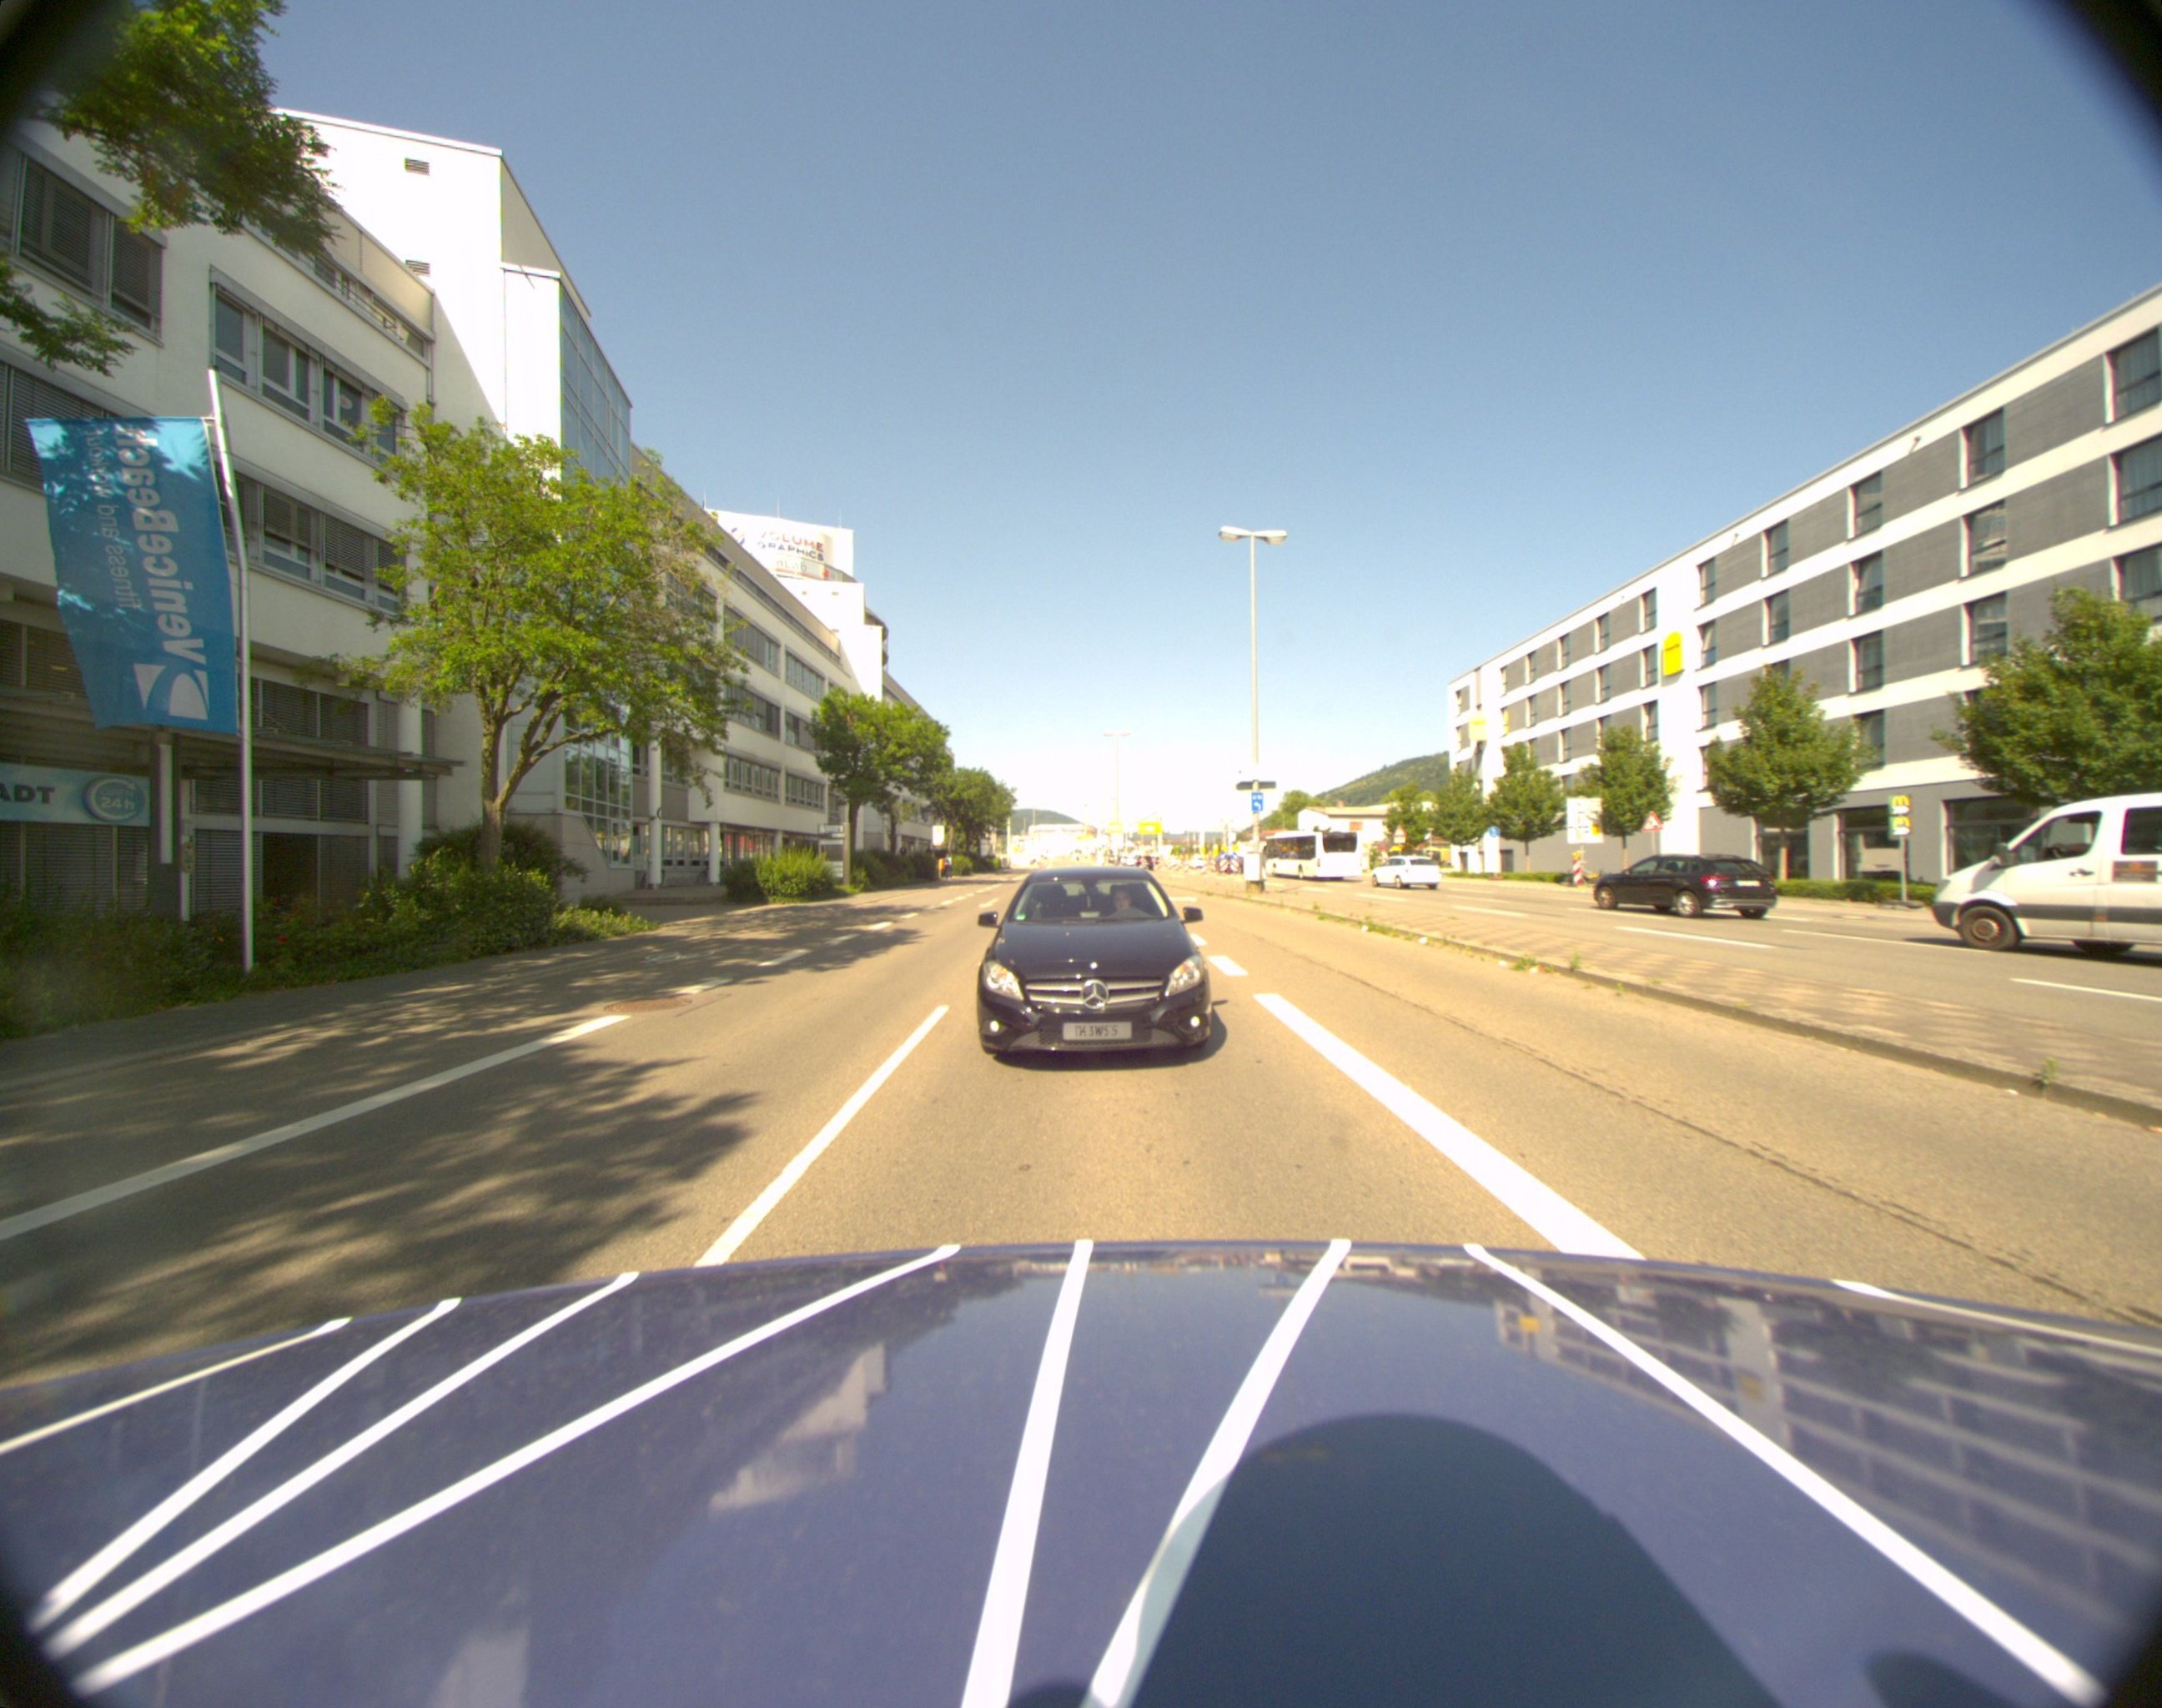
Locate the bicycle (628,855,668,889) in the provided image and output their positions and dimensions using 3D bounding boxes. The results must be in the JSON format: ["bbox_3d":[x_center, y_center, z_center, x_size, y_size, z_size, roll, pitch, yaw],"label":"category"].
[{"bbox_3d":[-17.972,0.743,31.581,0.506,1.346,1.884,-1,0,1],"label":"bicycle"}]

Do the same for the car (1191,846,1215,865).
[{"bbox_3d":[14.546,0.169,90.837,1.999,2.001,4.001,3,-2,-2],"label":"car"}]

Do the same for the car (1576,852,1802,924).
[{"bbox_3d":[15.035,0.758,19.183,1.999,1.569,4.410,0,1,-3],"label":"car"}]

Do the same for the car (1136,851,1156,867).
[{"bbox_3d":[6.558,0.470,77.201,1.889,1.608,4.135,-1,0,3],"label":"car"}]

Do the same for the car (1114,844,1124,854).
[{"bbox_3d":[8.060,-1.147,161.889,1.998,2.002,3.999,-2,1,1],"label":"car"}]

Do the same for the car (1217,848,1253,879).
[{"bbox_3d":[10.903,0.607,53.951,1.679,2.002,4.164,-2,1,1],"label":"car"}]

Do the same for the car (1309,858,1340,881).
[{"bbox_3d":[13.838,0.877,43.237,1.058,1.200,2.220,-2,1,2],"label":"car"}]

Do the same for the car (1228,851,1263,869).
[{"bbox_3d":[14.051,0.509,65.172,1.998,1.424,4.890,-1,0,0],"label":"car"}]

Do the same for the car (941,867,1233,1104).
[{"bbox_3d":[0.066,0.911,7.352,1.905,1.431,4.693,-1,0,1],"label":"car"}]

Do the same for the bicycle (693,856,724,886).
[{"bbox_3d":[-17.622,0.786,35.978,0.506,1.346,1.884,-1,0,1],"label":"bicycle"}]

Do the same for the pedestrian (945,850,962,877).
[{"bbox_3d":[-9.077,0.660,54.137,0.942,1.875,1.289,2,1,1],"label":"pedestrian"}]

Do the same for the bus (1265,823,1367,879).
[{"bbox_3d":[14.599,-0.204,48.498,2.745,3.061,11.974,1,0,0],"label":"bus"}]

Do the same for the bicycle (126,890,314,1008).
[{"bbox_3d":[-11.221,1.180,10.006,0.506,1.321,1.883,0,0,-7],"label":"bicycle"}]

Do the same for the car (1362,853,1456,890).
[{"bbox_3d":[14.625,0.745,34.216,1.999,1.477,4.410,2,1,-5],"label":"car"}]

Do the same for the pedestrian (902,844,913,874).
[{"bbox_3d":[-14.602,0.401,63.835,0.717,2.534,0.716,-1,1,-1],"label":"pedestrian"}]

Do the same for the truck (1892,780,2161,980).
[{"bbox_3d":[14.877,0.360,9.633,2.363,2.531,6.437,2,1,3],"label":"truck"}]

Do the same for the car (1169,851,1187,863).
[{"bbox_3d":[13.773,0.454,107.802,1.719,1.609,3.590,-1,0,-5],"label":"car"}]
